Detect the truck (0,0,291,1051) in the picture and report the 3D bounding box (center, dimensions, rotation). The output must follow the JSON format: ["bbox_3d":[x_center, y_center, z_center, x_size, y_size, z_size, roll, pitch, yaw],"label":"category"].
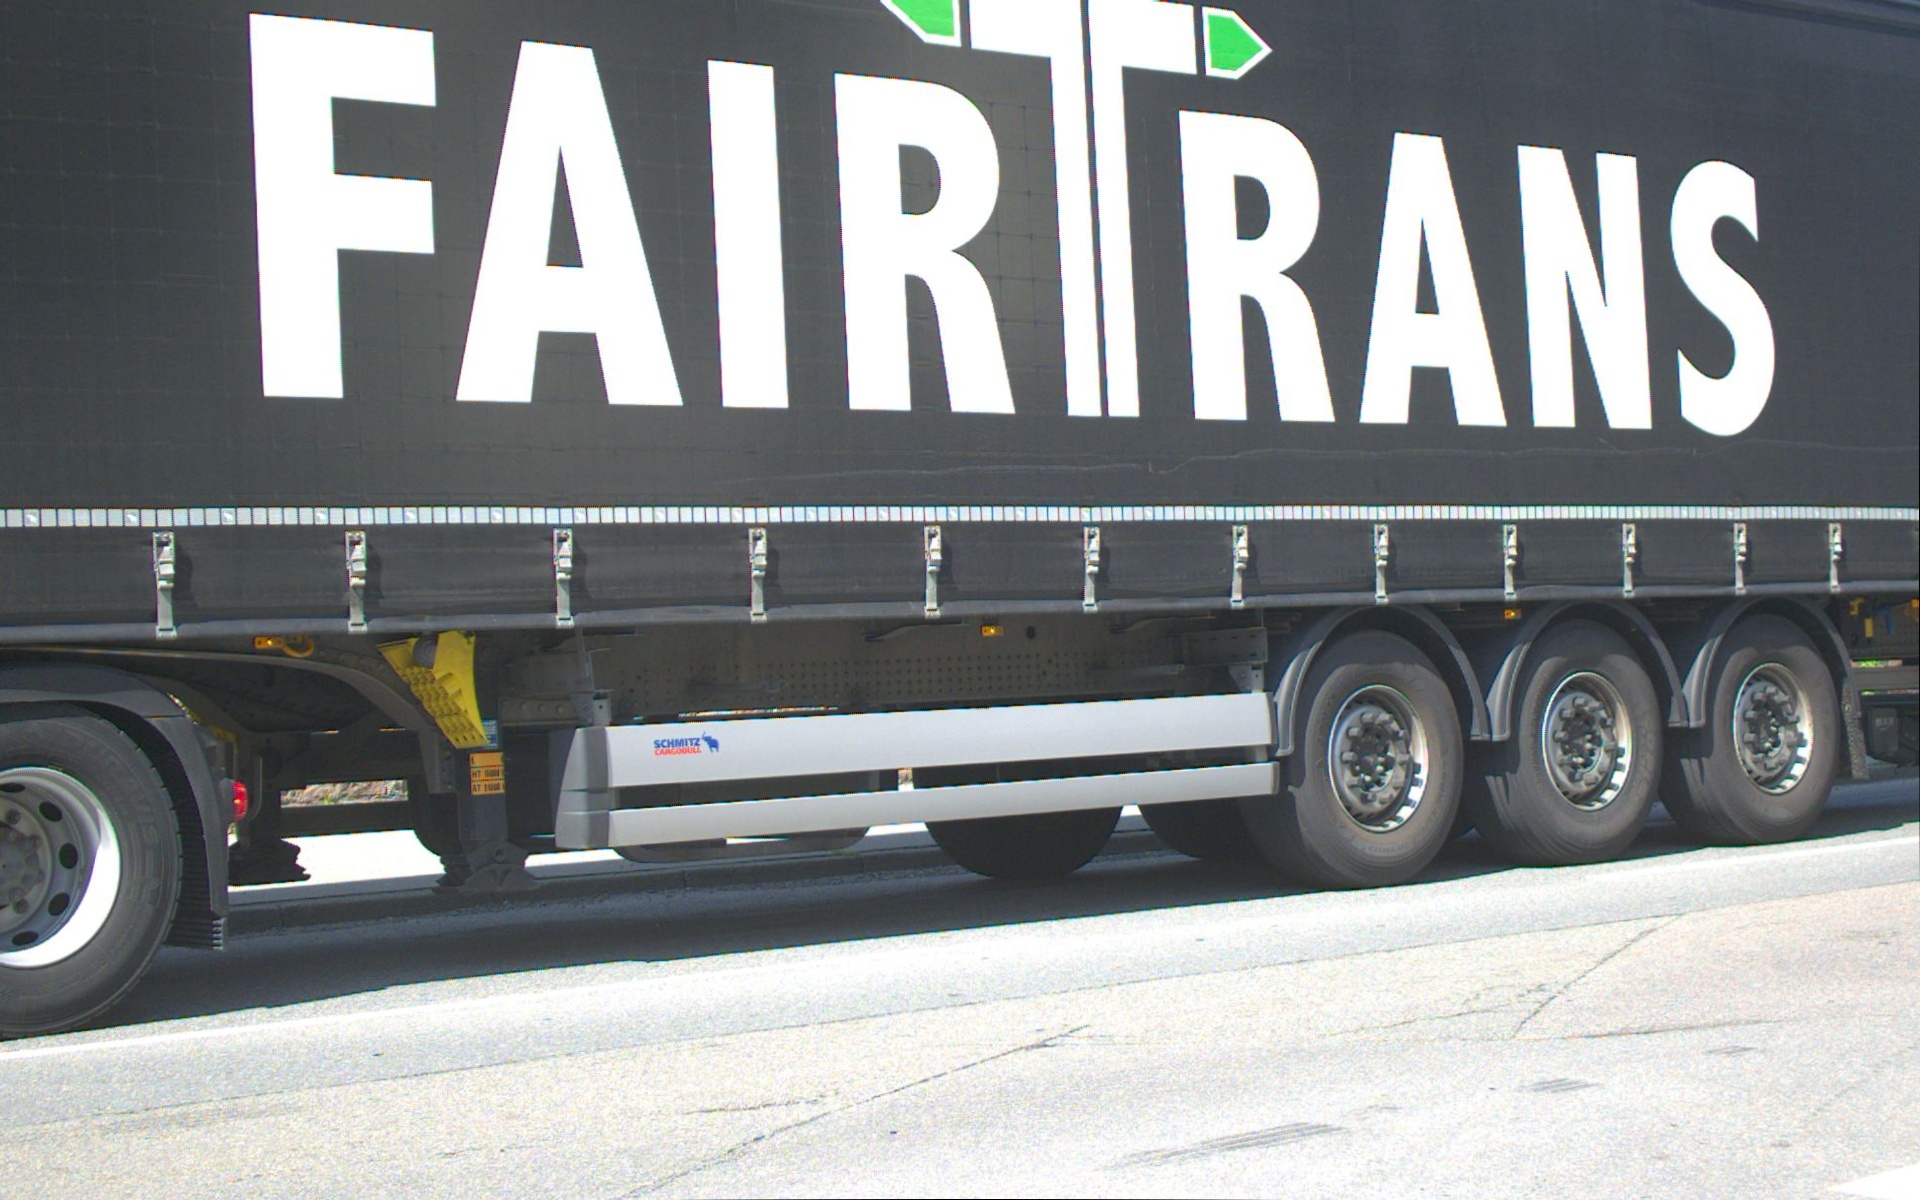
[{"bbox_3d":[-5.289,-0.636,9.686,5.915,4.057,2.838,-2,-1,-40],"label":"truck"}]

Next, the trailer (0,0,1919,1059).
[{"bbox_3d":[-0.130,-0.801,14.042,13.732,4.090,2.841,-2,-1,-40],"label":"trailer"}]
